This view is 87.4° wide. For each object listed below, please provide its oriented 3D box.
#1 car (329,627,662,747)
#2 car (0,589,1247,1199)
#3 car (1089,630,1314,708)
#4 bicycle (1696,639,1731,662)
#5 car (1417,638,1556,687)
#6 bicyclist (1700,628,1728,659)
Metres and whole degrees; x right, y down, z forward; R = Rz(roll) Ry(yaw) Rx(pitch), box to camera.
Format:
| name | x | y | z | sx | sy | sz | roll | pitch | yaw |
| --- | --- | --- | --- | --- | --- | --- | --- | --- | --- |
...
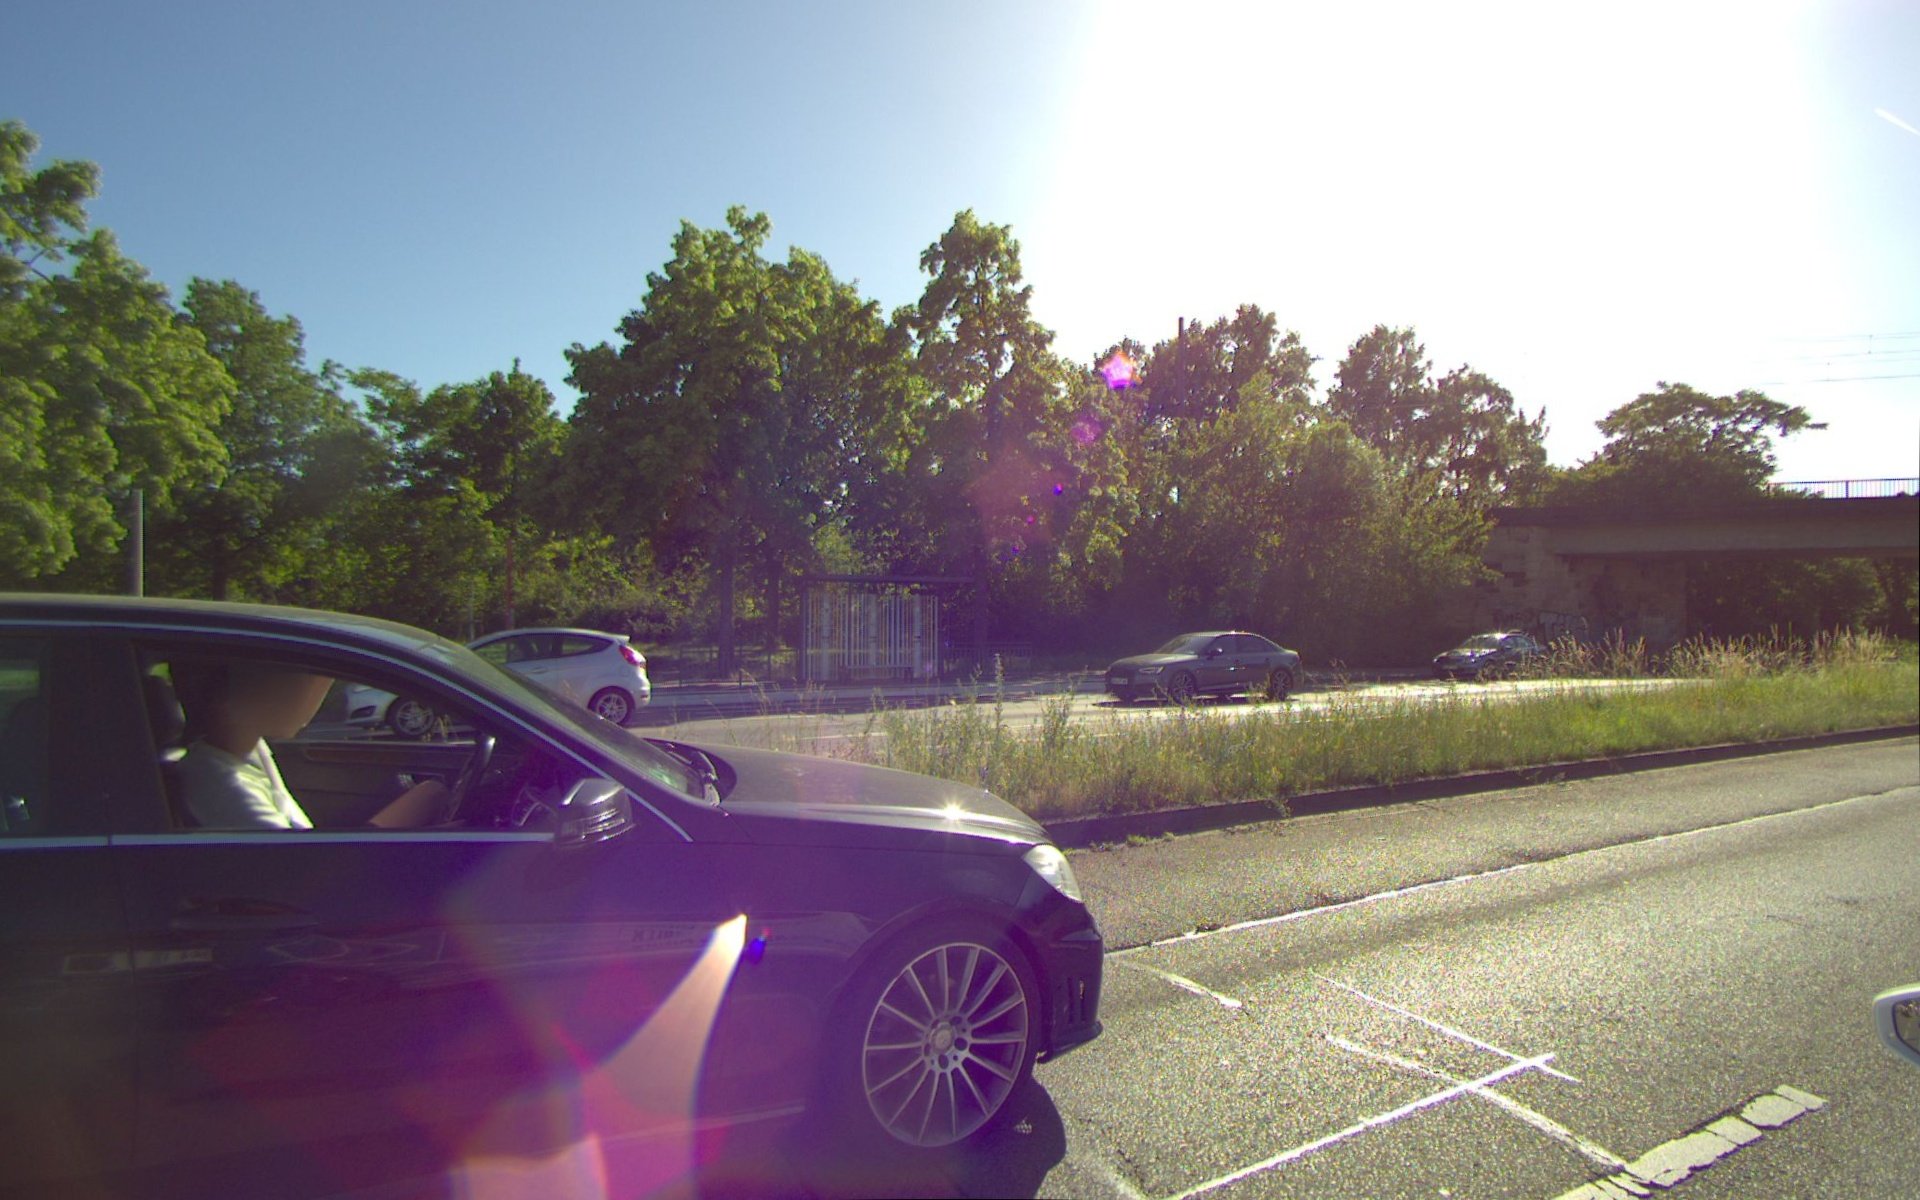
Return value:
| name | x | y | z | sx | sy | sz | roll | pitch | yaw |
| --- | --- | --- | --- | --- | --- | --- | --- | --- | --- |
| car | -6.458 | 1.167 | 14.177 | 4.064 | 1.469 | 1.633 | 2 | -4 | -31 |
| car | -1.712 | 0.751 | 2.658 | 4.860 | 1.502 | 1.950 | 1 | -1 | -30 |
| car | 5.042 | 1.400 | 20.789 | 4.577 | 1.453 | 1.809 | 2 | -4 | -31 |
| bicycle | 35.028 | 2.354 | 46.690 | 1.695 | 1.044 | 0.680 | 1 | 0 | -31 |
| car | 16.858 | 1.981 | 32.136 | 4.438 | 1.473 | 1.905 | 2 | -4 | -31 |
| bicyclist | 35.070 | 2.033 | 46.704 | 1.015 | 1.420 | 0.677 | 1 | 0 | -31 |
